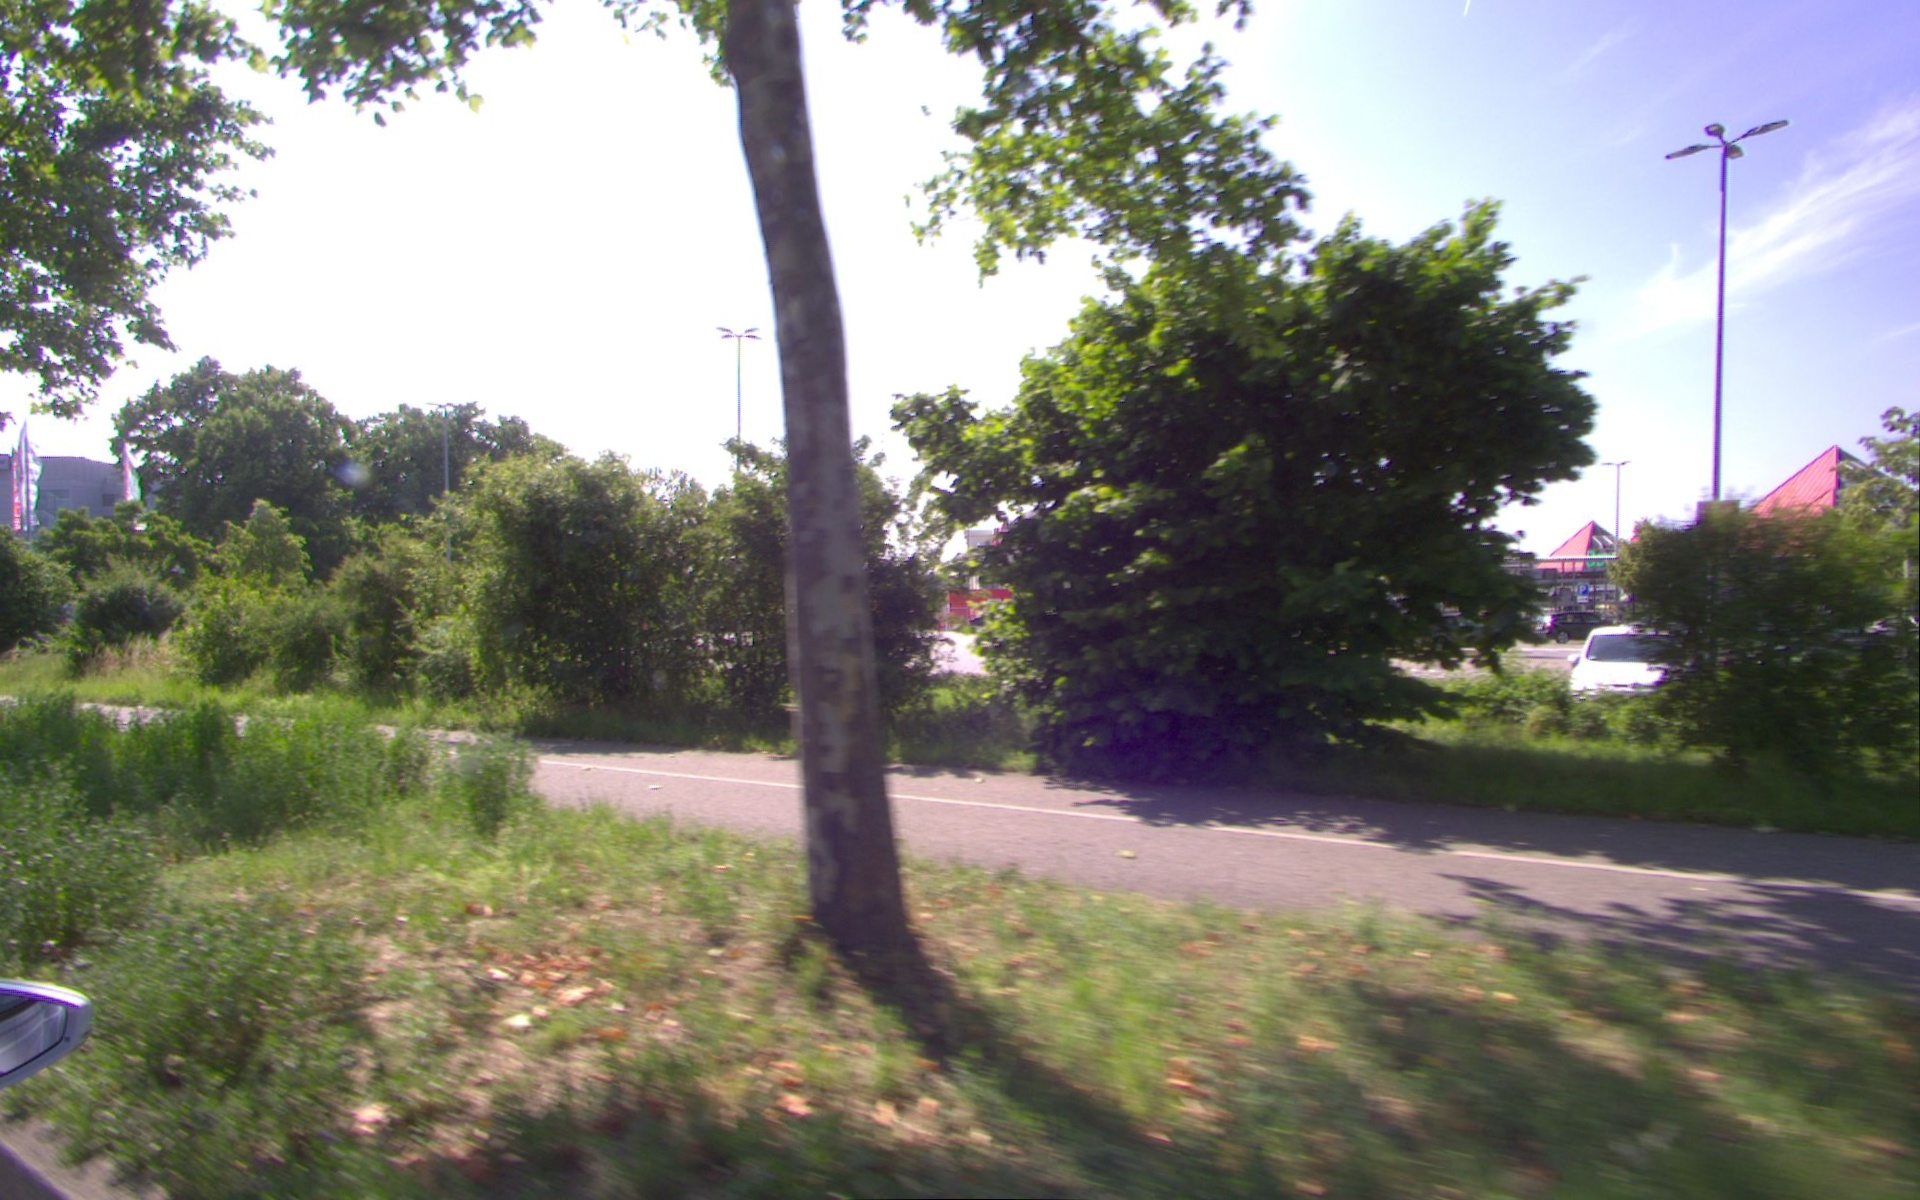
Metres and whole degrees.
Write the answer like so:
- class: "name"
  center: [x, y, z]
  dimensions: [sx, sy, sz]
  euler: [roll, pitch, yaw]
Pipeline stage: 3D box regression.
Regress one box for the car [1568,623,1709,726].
- class: "car"
  center: [10.775, 1.111, 16.128]
  dimensions: [1.581, 1.438, 3.983]
  euler: [-1, -2, 30]
